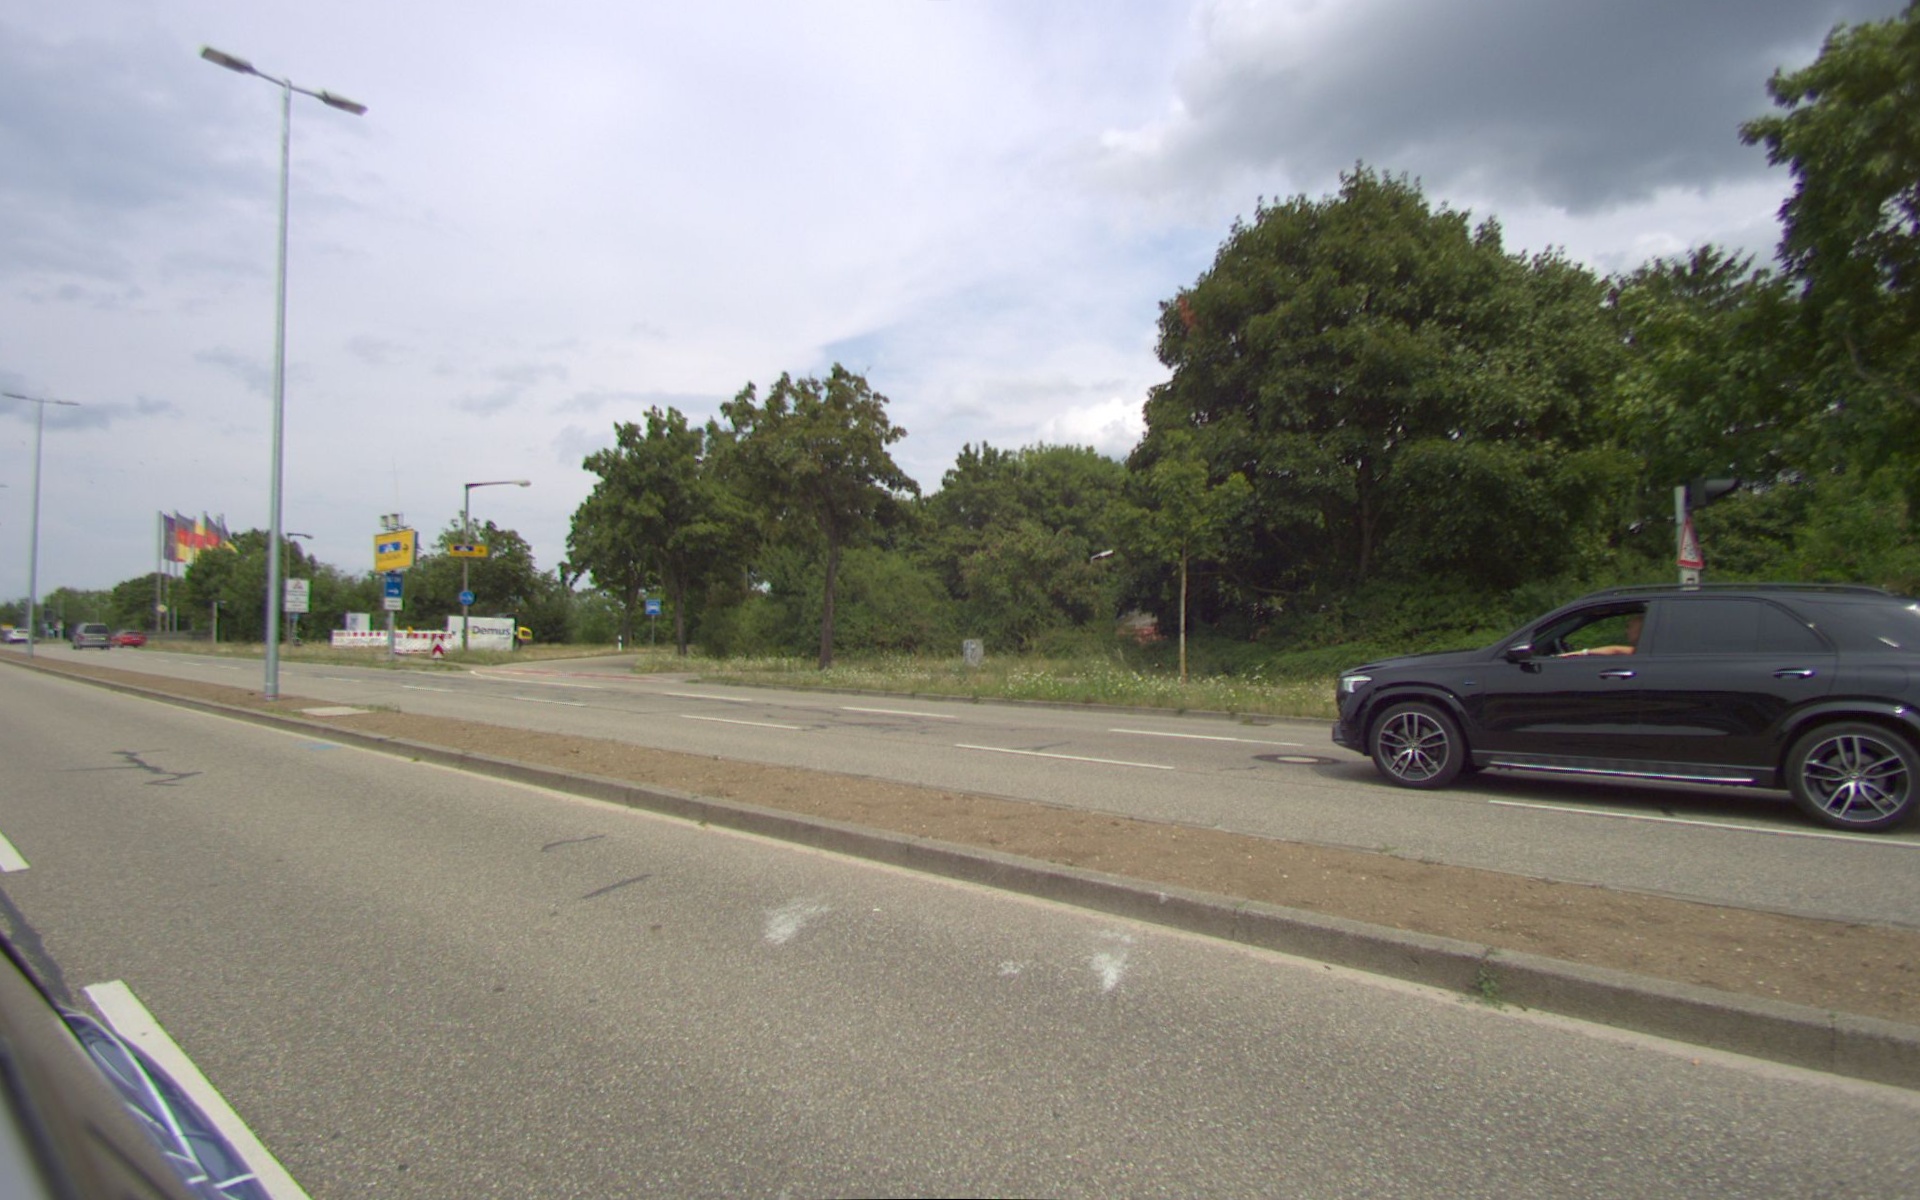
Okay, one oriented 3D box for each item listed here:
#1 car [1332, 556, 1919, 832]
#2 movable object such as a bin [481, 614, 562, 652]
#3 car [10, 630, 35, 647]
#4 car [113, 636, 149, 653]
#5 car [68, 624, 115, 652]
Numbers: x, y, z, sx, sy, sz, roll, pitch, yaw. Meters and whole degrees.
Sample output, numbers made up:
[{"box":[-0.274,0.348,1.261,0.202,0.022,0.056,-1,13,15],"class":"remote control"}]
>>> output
[{"box":[5.864,0.713,8.419,4.793,1.825,1.973,-3,-4,40],"class":"car"},{"box":[-28.712,2.157,66.388,1.993,2.415,4.544,-3,-2,31],"class":"movable object such as a bin"},{"box":[-99.973,4.131,107.909,4.383,1.641,1.676,-3,-3,43],"class":"car"},{"box":[-68.047,3.637,83.064,4.346,1.332,1.735,-3,-3,44],"class":"car"},{"box":[-60.605,2.658,70.608,4.537,1.823,1.883,-3,-3,41],"class":"car"}]
